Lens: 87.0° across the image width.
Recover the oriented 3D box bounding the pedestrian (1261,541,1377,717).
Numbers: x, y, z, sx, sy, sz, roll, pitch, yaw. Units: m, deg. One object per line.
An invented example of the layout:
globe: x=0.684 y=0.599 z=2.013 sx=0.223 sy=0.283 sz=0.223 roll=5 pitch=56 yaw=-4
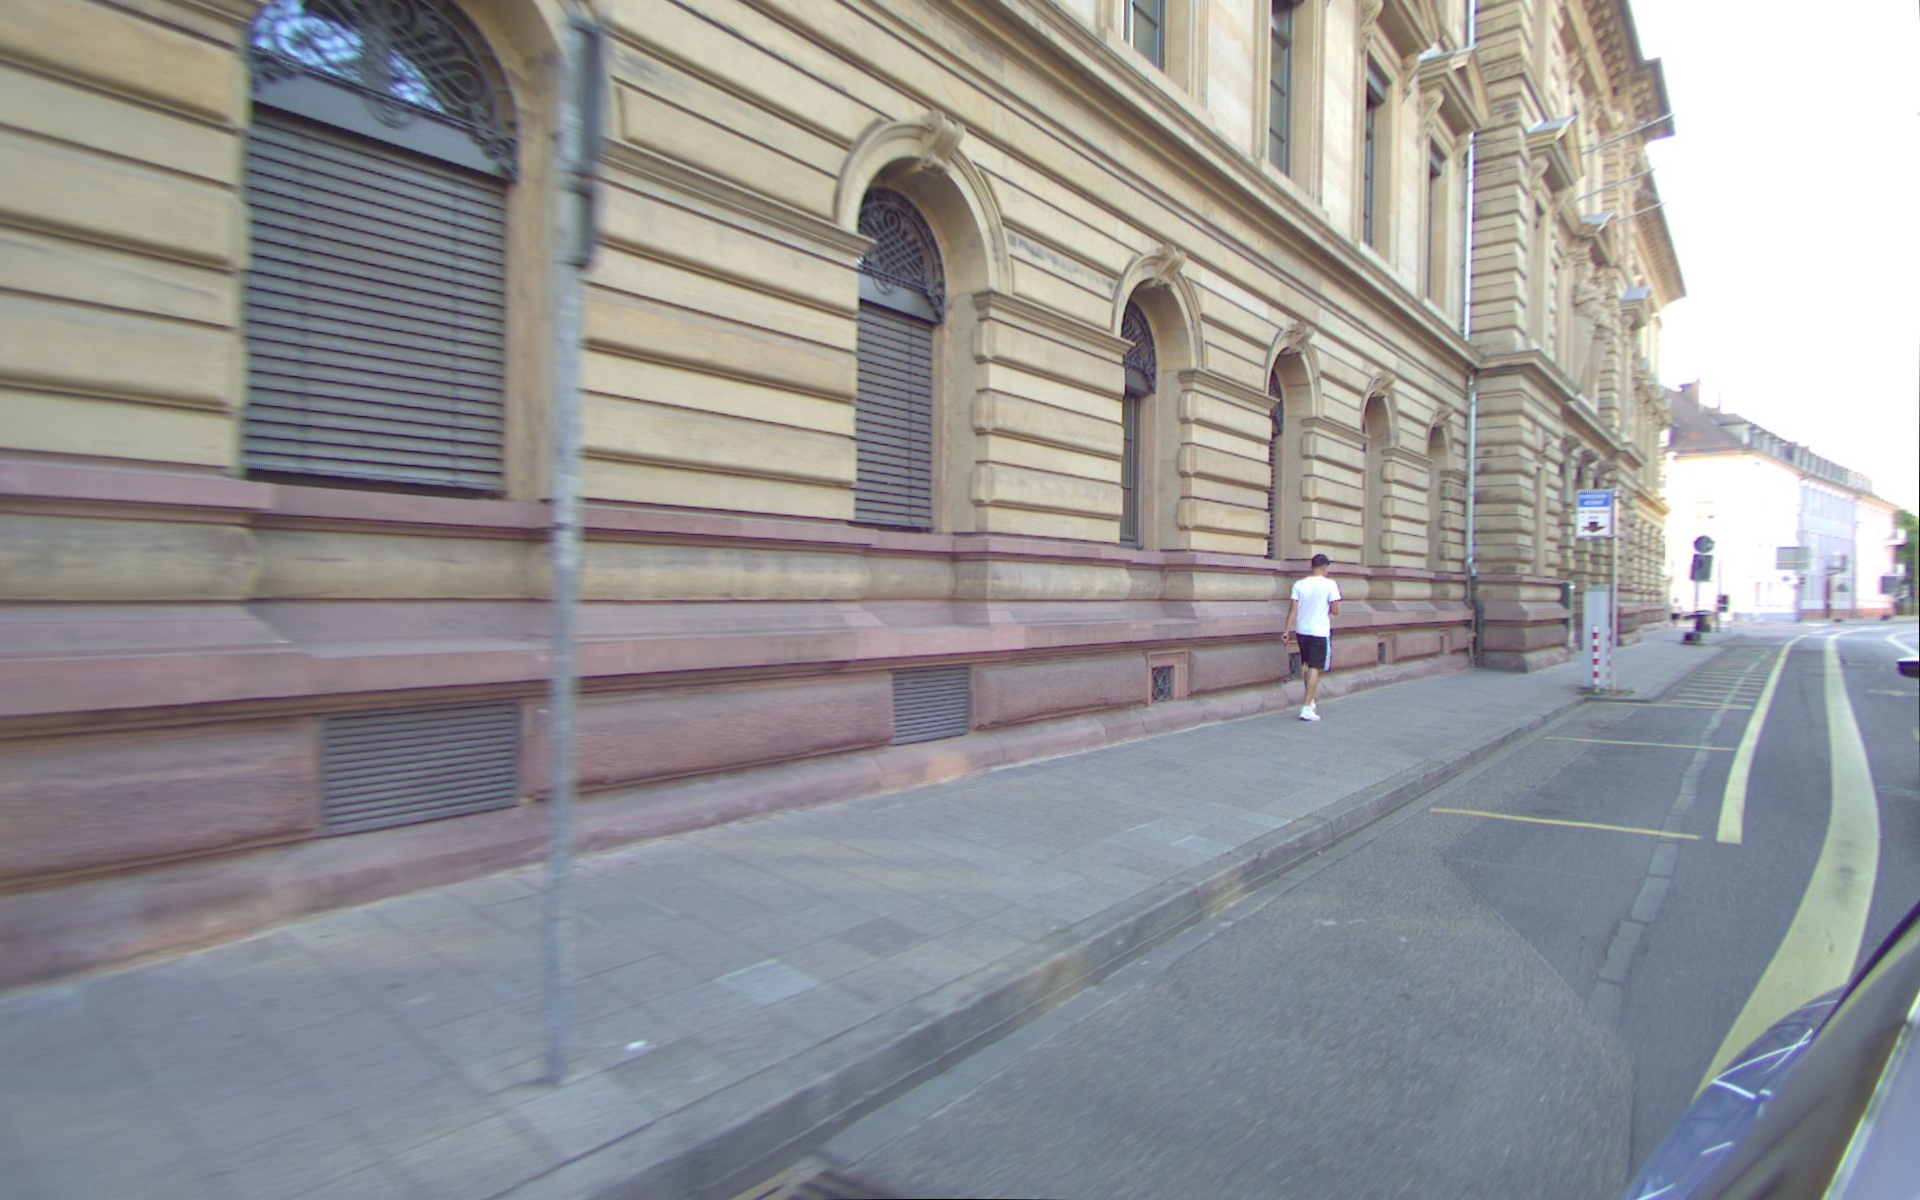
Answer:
pedestrian: x=3.883 y=0.298 z=10.946 sx=1.021 sy=1.788 sz=0.817 roll=1 pitch=-1 yaw=-45

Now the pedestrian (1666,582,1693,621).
pedestrian: x=37.989 y=0.068 z=53.424 sx=0.973 sy=2.039 sz=0.789 roll=1 pitch=0 yaw=-25

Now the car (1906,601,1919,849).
car: x=7.804 y=0.717 z=6.763 sx=4.703 sy=1.404 sz=1.960 roll=0 pitch=1 yaw=-44
